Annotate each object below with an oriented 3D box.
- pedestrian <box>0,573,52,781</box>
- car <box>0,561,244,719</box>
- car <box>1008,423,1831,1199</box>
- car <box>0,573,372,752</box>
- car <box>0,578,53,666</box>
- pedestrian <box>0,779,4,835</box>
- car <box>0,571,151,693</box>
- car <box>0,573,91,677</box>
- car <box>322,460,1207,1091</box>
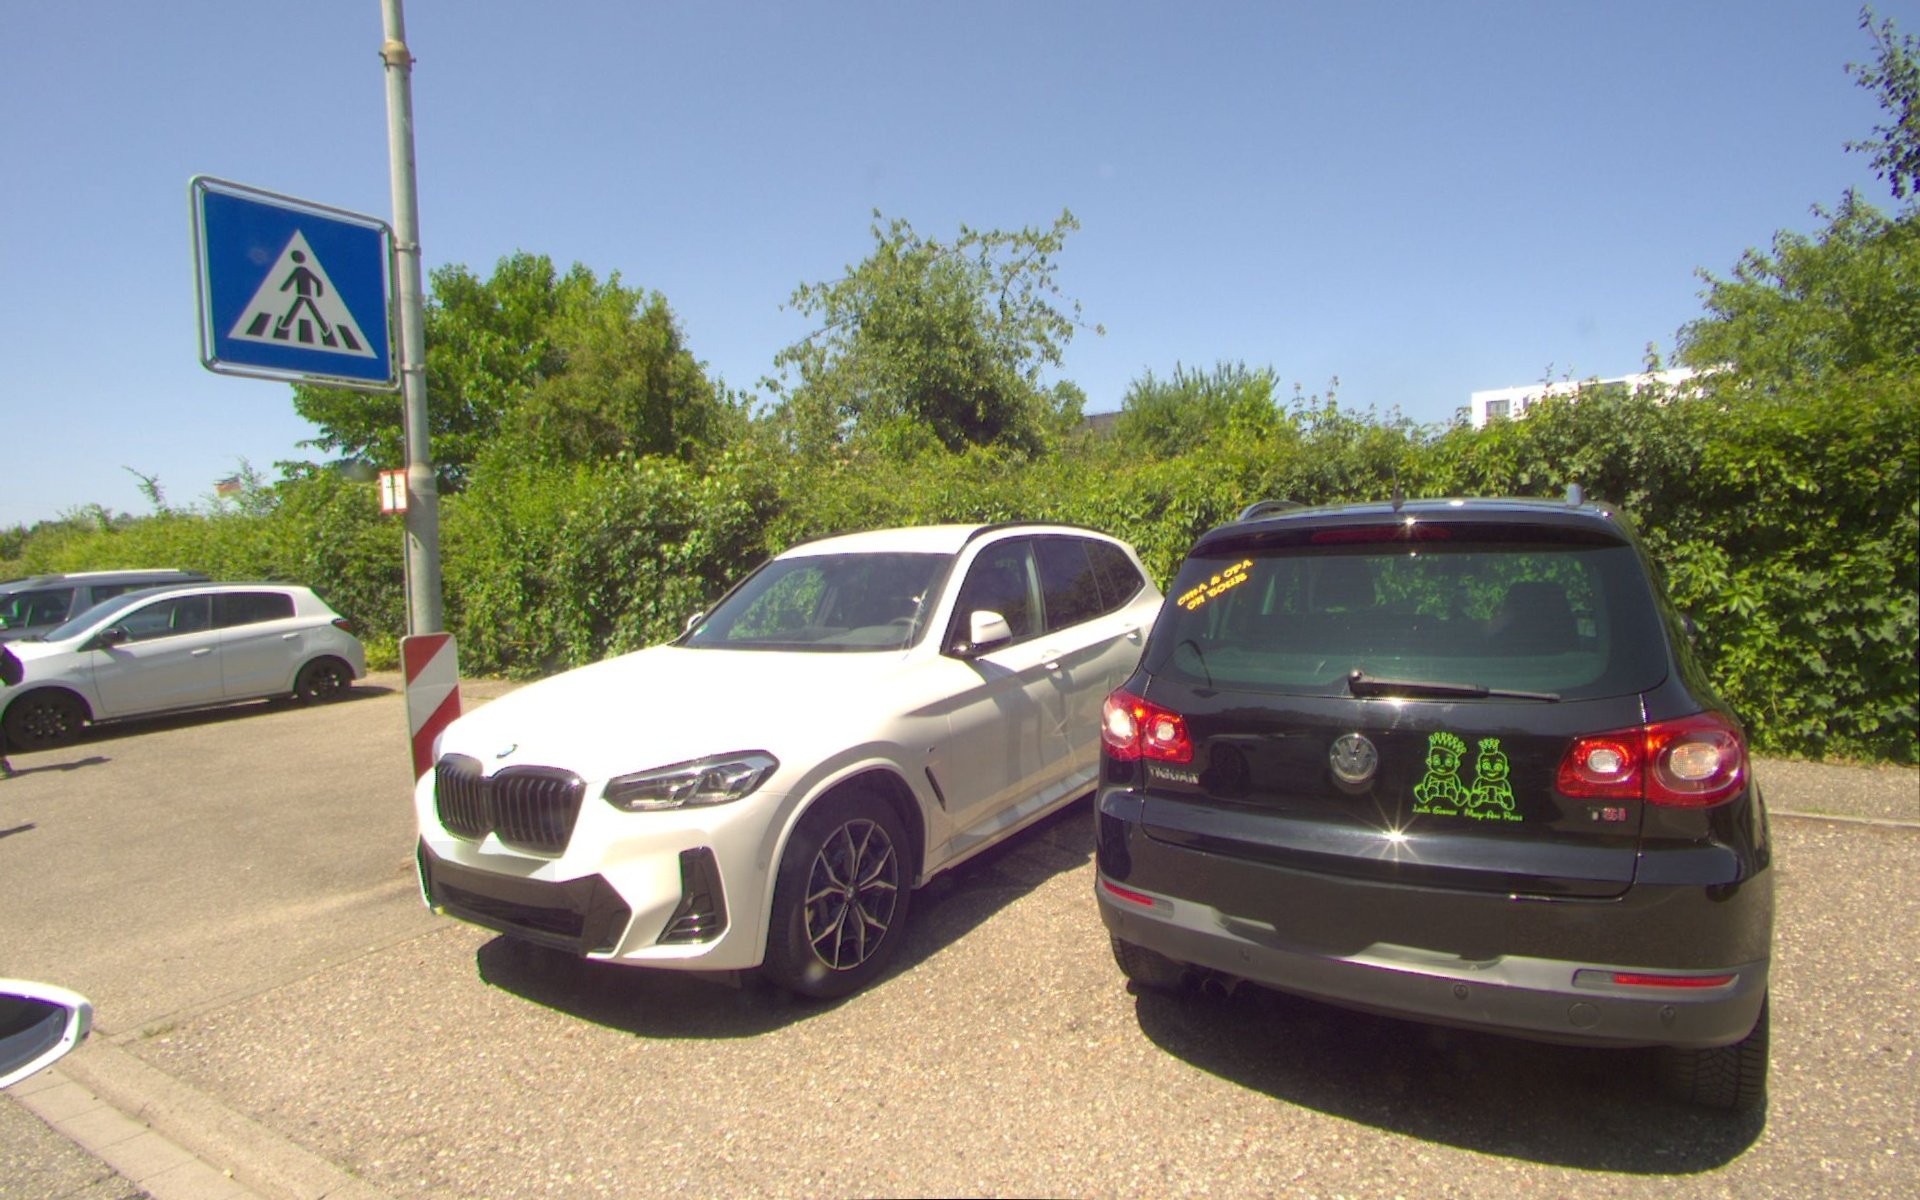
[{"bbox_3d":[-8.006,0.621,8.066,0.770,1.634,0.890,-5,4,-34],"label":"pedestrian"},{"bbox_3d":[-11.376,0.466,12.164,1.637,1.664,3.953,0,5,27],"label":"car"},{"bbox_3d":[1.924,0.421,4.047,1.741,1.709,3.962,0,3,32],"label":"car"},{"bbox_3d":[-8.785,0.557,10.927,1.588,1.472,3.673,1,6,36],"label":"car"},{"bbox_3d":[-18.291,0.451,17.435,1.566,1.525,3.374,2,4,36],"label":"car"},{"bbox_3d":[-6.662,0.627,5.812,1.004,1.776,1.157,-1,3,12],"label":"pedestrian"},{"bbox_3d":[-13.699,0.480,13.885,1.515,1.549,3.445,0,5,28],"label":"car"},{"bbox_3d":[-16.179,0.495,15.253,1.835,1.545,3.955,0,5,27],"label":"car"},{"bbox_3d":[-0.378,0.385,5.123,1.825,1.753,4.440,-1,3,33],"label":"car"}]
